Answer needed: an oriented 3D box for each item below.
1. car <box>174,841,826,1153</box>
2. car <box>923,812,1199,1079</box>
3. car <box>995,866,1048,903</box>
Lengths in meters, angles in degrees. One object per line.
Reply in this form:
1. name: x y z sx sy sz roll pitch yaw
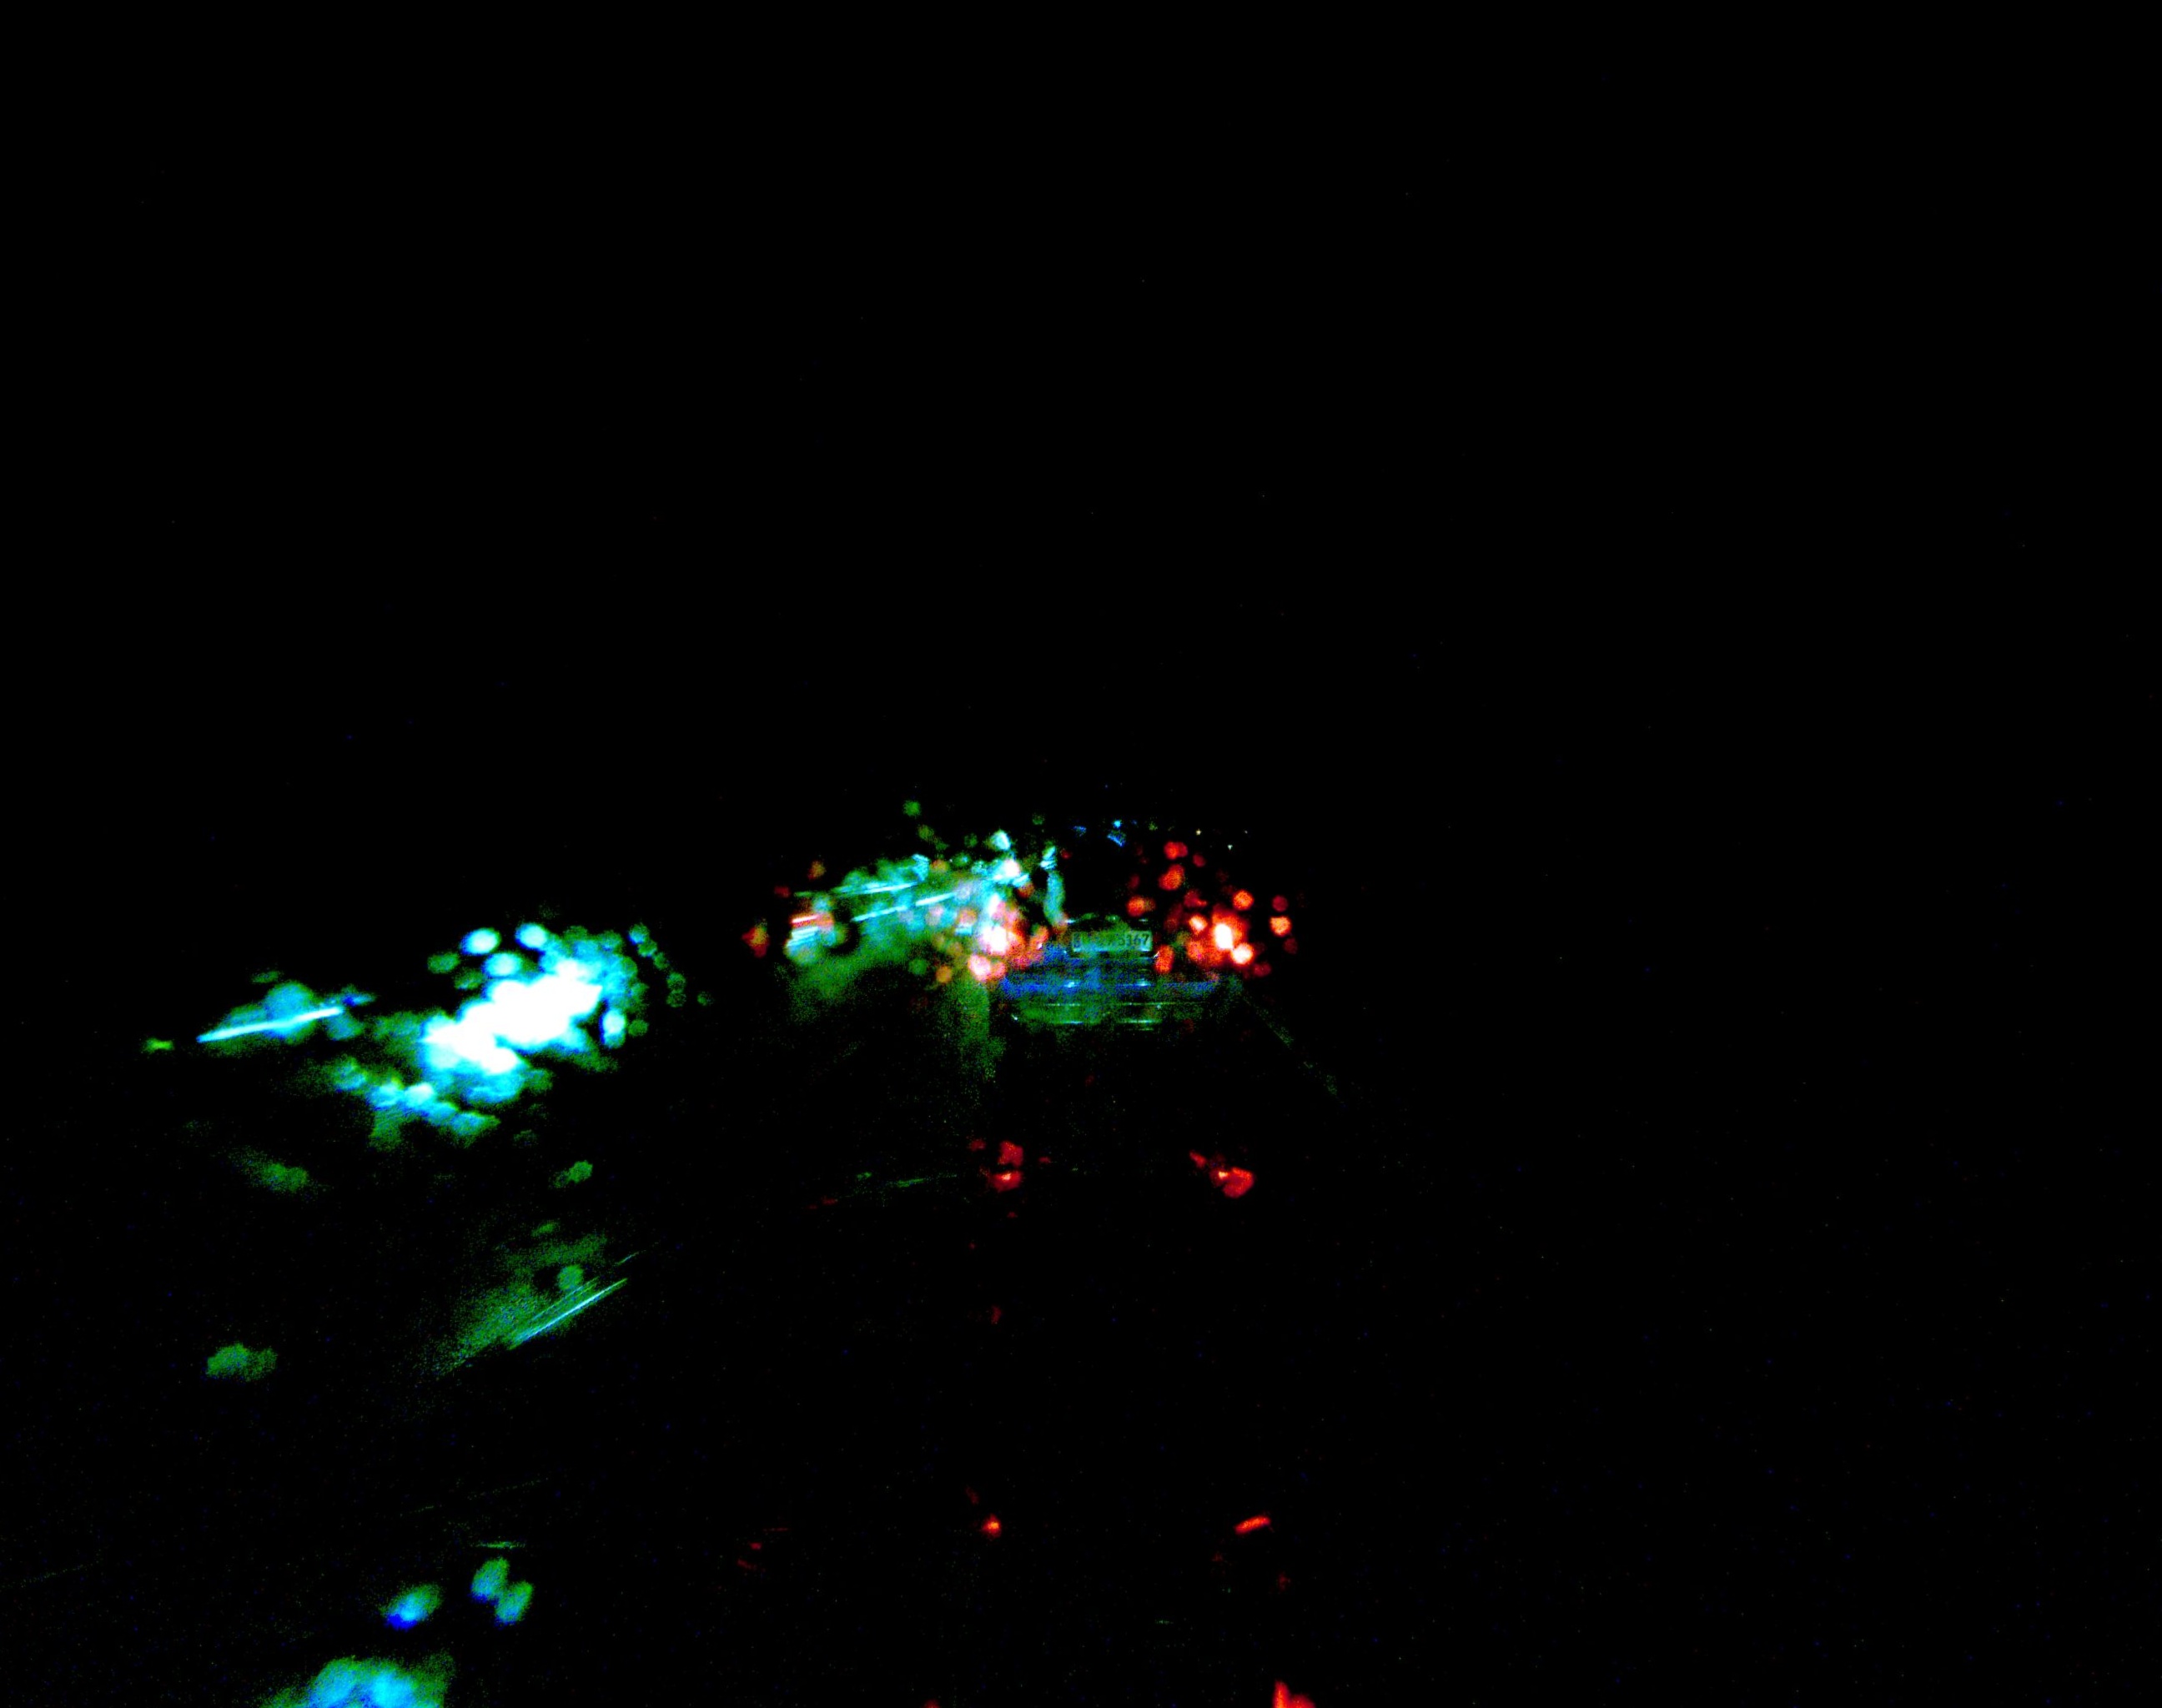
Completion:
1. car: -3.572 0.702 6.200 1.831 1.546 4.258 0 0 1
2. car: -0.054 0.612 7.279 1.768 1.712 4.002 -1 -1 2
3. car: -2.539 1.281 35.554 1.897 1.470 4.275 1 0 1
